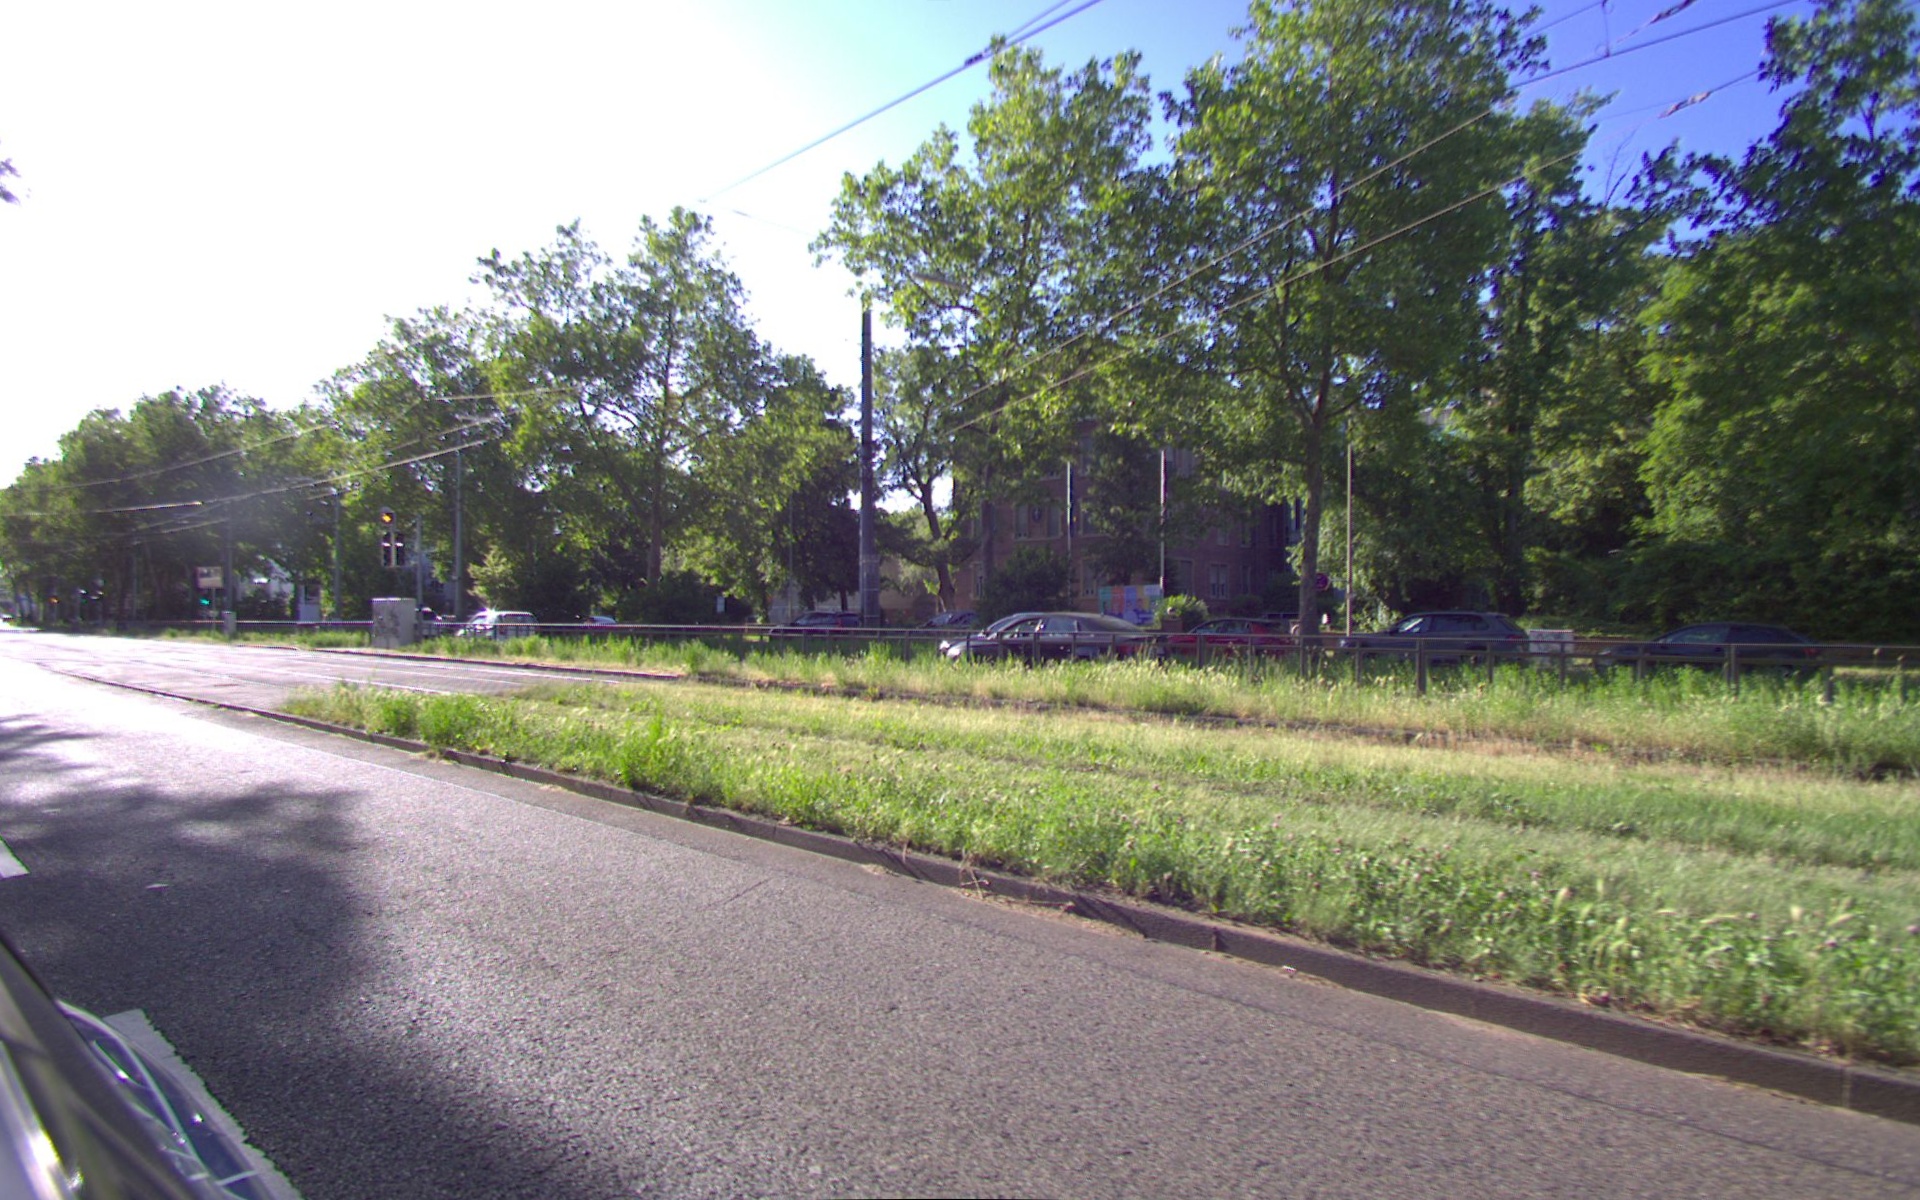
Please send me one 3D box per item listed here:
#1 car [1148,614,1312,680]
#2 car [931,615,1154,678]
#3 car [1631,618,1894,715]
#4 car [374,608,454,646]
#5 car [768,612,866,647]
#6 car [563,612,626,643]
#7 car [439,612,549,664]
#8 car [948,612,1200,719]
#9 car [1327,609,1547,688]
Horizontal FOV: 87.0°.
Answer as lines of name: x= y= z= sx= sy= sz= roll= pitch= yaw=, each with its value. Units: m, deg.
car: x=7.581 y=1.284 z=28.546 sx=3.997 sy=1.634 sz=1.974 roll=-2 pitch=0 yaw=40
car: x=1.643 y=0.944 z=21.523 sx=4.707 sy=1.143 sz=1.671 roll=-2 pitch=0 yaw=44
car: x=16.133 y=1.276 z=20.514 sx=3.998 sy=1.696 sz=1.802 roll=-2 pitch=0 yaw=41
car: x=-26.091 y=1.287 z=48.290 sx=4.596 sy=1.631 sz=1.866 roll=-2 pitch=0 yaw=41
car: x=-5.646 y=1.116 z=39.775 sx=4.024 sy=1.232 sz=1.578 roll=0 pitch=1 yaw=42
car: x=-18.900 y=1.395 z=52.243 sx=1.573 sy=1.482 sz=3.824 roll=-2 pitch=0 yaw=-44
car: x=-15.396 y=1.232 z=33.367 sx=3.871 sy=1.541 sz=1.826 roll=-2 pitch=0 yaw=40
car: x=1.896 y=1.058 z=17.564 sx=4.047 sy=1.563 sz=1.774 roll=-2 pitch=0 yaw=43
car: x=11.628 y=1.136 z=24.807 sx=4.510 sy=1.696 sz=1.974 roll=-2 pitch=0 yaw=40
